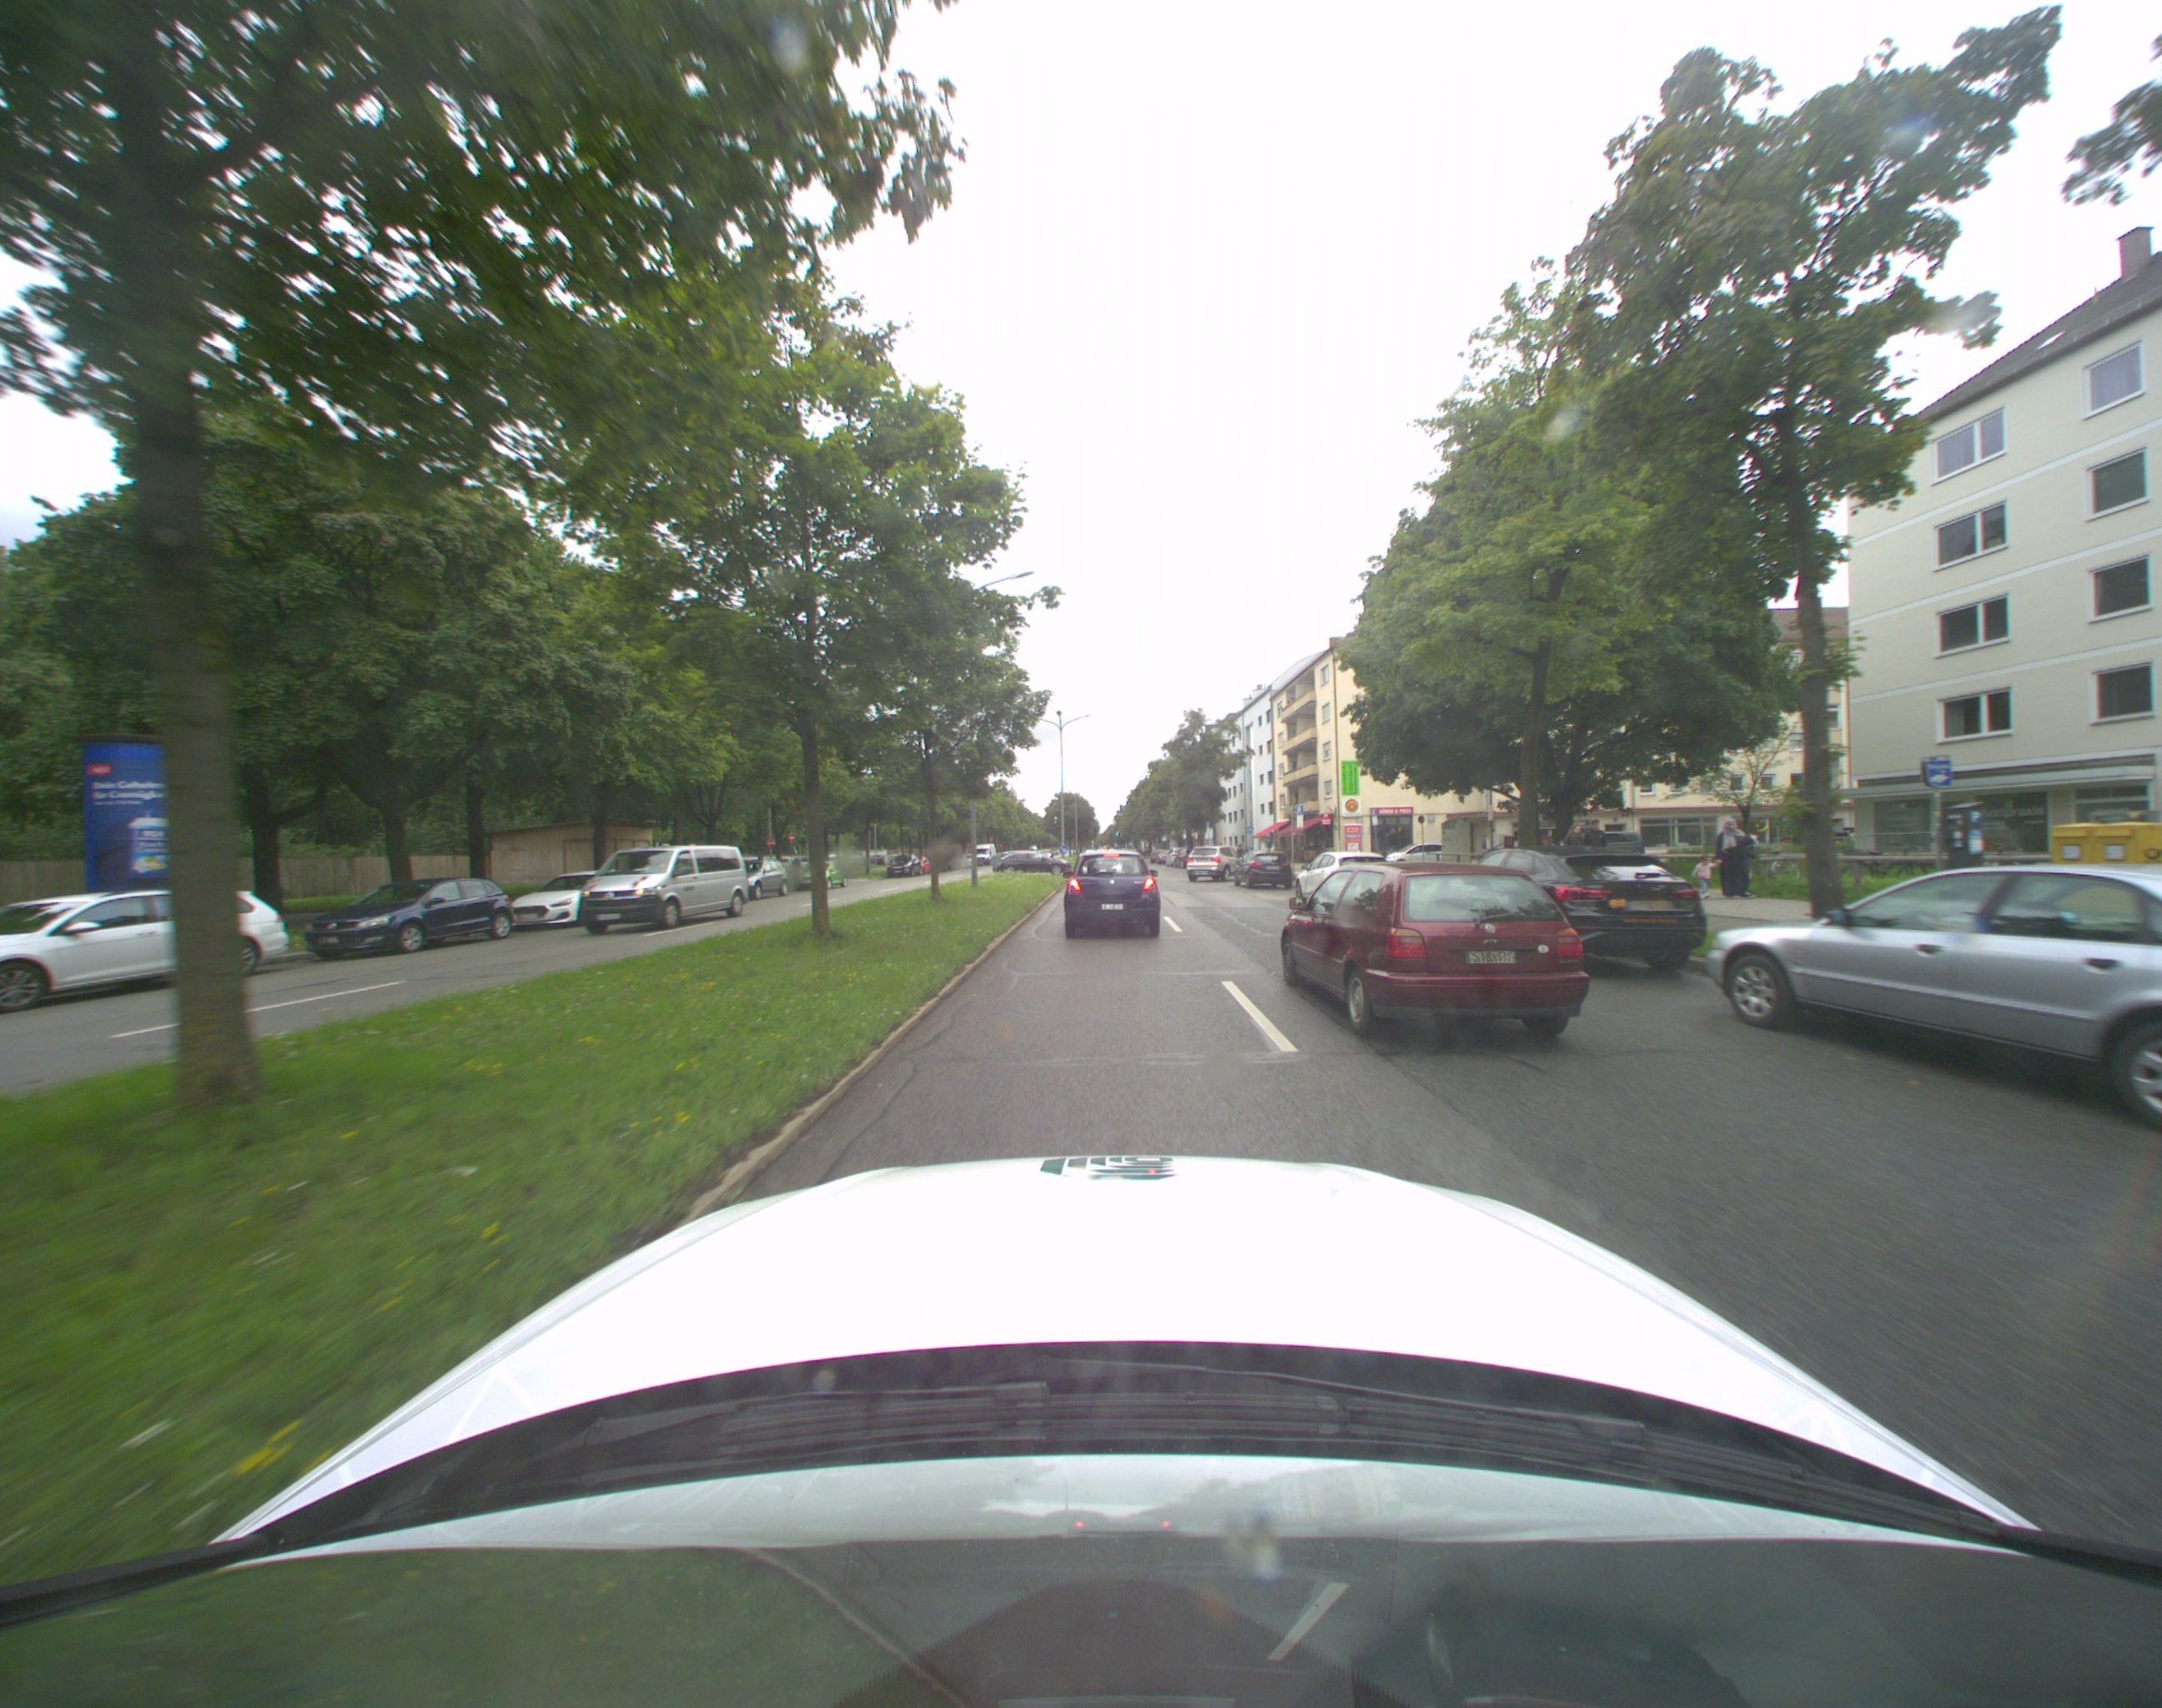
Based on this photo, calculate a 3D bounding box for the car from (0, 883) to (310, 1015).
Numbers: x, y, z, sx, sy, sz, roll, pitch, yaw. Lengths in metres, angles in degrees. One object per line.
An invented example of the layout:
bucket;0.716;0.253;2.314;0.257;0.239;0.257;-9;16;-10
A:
car;-14.145;1.288;11.667;1.756;1.449;4.534;-3;0;1

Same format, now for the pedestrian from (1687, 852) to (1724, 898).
pedestrian;13.001;0.433;16.964;0.406;0.949;0.435;-2;0;0

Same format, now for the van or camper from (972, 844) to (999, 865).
van or camper;-11.741;0.032;100.771;2.108;2.482;7.453;-1;0;2

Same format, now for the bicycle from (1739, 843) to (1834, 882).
bicycle;17.776;0.209;20.538;1.870;0.940;0.558;0;0;2

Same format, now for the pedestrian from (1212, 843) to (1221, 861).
pedestrian;15.179;-0.201;91.106;0.791;2.013;1.006;-1;0;2

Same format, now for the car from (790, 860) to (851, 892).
car;-13.356;1.097;41.970;1.541;1.409;3.883;-3;0;4

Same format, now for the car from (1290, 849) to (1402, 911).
car;6.895;0.613;21.618;1.676;1.465;4.138;1;0;1

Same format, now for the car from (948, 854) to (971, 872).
car;-12.102;0.869;81.249;1.627;1.741;3.879;-1;0;1

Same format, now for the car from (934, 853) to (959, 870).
car;-12.325;0.652;74.873;1.585;1.558;3.879;-1;0;1

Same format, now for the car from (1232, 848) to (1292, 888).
car;7.055;0.522;31.998;1.611;1.465;3.675;0;0;1

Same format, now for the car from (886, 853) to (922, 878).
car;-12.778;0.792;58.998;1.711;1.741;3.879;-1;0;1

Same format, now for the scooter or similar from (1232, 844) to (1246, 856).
scooter or similar;17.261;-0.413;89.116;1.029;1.307;2.757;-2;0;2

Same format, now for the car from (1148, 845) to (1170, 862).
car;8.165;-0.091;85.386;1.859;1.682;4.224;-2;0;0

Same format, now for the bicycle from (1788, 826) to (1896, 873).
bicycle;16.439;-0.092;17.604;1.870;0.973;0.433;-1;0;2

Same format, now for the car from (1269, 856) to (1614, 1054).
car;3.022;0.727;7.776;1.676;1.383;3.921;0;0;2

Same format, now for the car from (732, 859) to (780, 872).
car;-36.325;1.280;91.110;4.673;1.445;1.673;-1;0;2

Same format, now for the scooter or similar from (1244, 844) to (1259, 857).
scooter or similar;17.595;-0.384;83.897;1.029;1.307;2.757;-2;0;2

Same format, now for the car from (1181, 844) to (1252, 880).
car;6.560;0.338;39.088;1.847;1.661;4.435;0;1;31

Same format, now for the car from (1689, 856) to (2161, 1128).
car;6.451;0.729;5.406;1.631;1.386;4.242;0;0;-1

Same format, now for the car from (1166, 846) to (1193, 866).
car;8.139;0.148;67.658;1.785;1.558;4.225;-2;0;1

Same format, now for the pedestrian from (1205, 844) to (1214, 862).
pedestrian;14.354;-0.126;91.176;0.791;2.013;1.006;-1;0;2

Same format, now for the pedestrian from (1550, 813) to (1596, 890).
pedestrian;12.533;-0.060;20.770;0.586;1.889;0.902;-2;0;0

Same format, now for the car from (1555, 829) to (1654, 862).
car;31.349;-0.499;48.891;4.720;1.773;1.871;-2;0;0

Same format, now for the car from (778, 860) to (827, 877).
car;-25.437;1.334;74.402;3.859;1.445;1.670;-1;0;-4

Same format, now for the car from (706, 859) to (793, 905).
car;-13.584;1.096;33.637;1.685;1.586;4.371;-3;0;1

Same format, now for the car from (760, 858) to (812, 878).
car;-25.884;1.205;71.564;3.911;1.718;1.670;-1;0;-4

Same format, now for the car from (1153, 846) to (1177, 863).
car;8.276;0.041;80.552;1.859;1.517;4.224;-2;0;0

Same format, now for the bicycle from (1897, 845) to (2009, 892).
bicycle;18.670;0.300;17.453;1.870;0.973;0.433;-1;0;2

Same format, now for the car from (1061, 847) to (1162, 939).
car;0.537;0.640;15.645;1.676;1.501;3.919;-1;0;0

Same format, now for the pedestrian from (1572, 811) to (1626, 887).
pedestrian;13.210;-0.126;20.795;0.727;1.889;0.919;-2;0;0

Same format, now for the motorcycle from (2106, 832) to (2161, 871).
motorcycle;28.794;-0.073;21.702;0.601;1.023;1.907;-1;0;2

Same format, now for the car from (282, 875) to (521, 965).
car;-13.778;1.263;16.860;1.608;1.417;3.896;-3;0;-1

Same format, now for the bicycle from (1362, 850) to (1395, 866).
bicycle;18.508;0.225;50.633;1.841;0.957;0.557;-1;0;0

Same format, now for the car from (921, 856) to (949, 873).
car;-12.416;0.869;69.523;1.661;1.445;3.879;-1;0;1

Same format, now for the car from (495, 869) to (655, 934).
car;-13.896;1.232;22.693;1.601;1.444;4.281;-3;0;2

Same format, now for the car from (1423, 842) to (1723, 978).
car;6.457;0.613;11.347;1.710;1.533;4.277;0;0;2

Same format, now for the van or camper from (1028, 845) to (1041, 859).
van or camper;-11.261;-0.482;197.560;2.552;3.296;6.938;-1;0;1

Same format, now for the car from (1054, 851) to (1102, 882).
car;-0.203;0.583;41.136;1.684;1.463;3.718;-1;0;-13

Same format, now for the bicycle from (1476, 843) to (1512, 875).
bicycle;14.740;0.161;29.117;0.387;1.105;1.854;-1;0;2

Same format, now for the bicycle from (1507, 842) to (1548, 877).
bicycle;14.689;0.184;26.809;0.380;1.103;1.885;-1;0;2

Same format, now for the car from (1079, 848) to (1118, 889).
car;0.663;0.527;32.029;1.439;1.483;3.106;-1;0;0

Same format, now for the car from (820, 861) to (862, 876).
car;-24.759;1.461;84.141;3.859;1.445;1.670;-1;0;-4

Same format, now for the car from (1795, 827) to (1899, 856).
car;46.401;-0.748;49.387;4.724;1.661;1.870;0;0;-3

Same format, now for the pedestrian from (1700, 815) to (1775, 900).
pedestrian;13.632;0.072;16.939;0.836;1.681;0.835;-2;0;0

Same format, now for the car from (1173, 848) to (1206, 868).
car;8.285;0.261;62.505;1.860;1.417;4.222;-2;1;-2

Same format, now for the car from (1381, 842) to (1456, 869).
car;19.072;0.081;46.115;3.532;1.417;1.874;-2;0;4

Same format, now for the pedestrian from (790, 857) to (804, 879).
pedestrian;-20.649;1.014;59.188;0.725;1.534;0.721;-1;0;2

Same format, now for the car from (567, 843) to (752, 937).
car;-10.111;0.768;20.066;1.793;1.933;4.994;-3;0;1

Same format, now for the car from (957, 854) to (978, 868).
car;-12.050;0.719;86.586;1.627;1.431;3.879;-1;0;1

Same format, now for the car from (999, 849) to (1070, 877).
car;-2.748;0.517;48.116;4.115;1.468;1.837;-2;0;-5

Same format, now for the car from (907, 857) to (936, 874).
car;-12.661;0.878;64.692;1.585;1.312;3.381;-1;0;1
